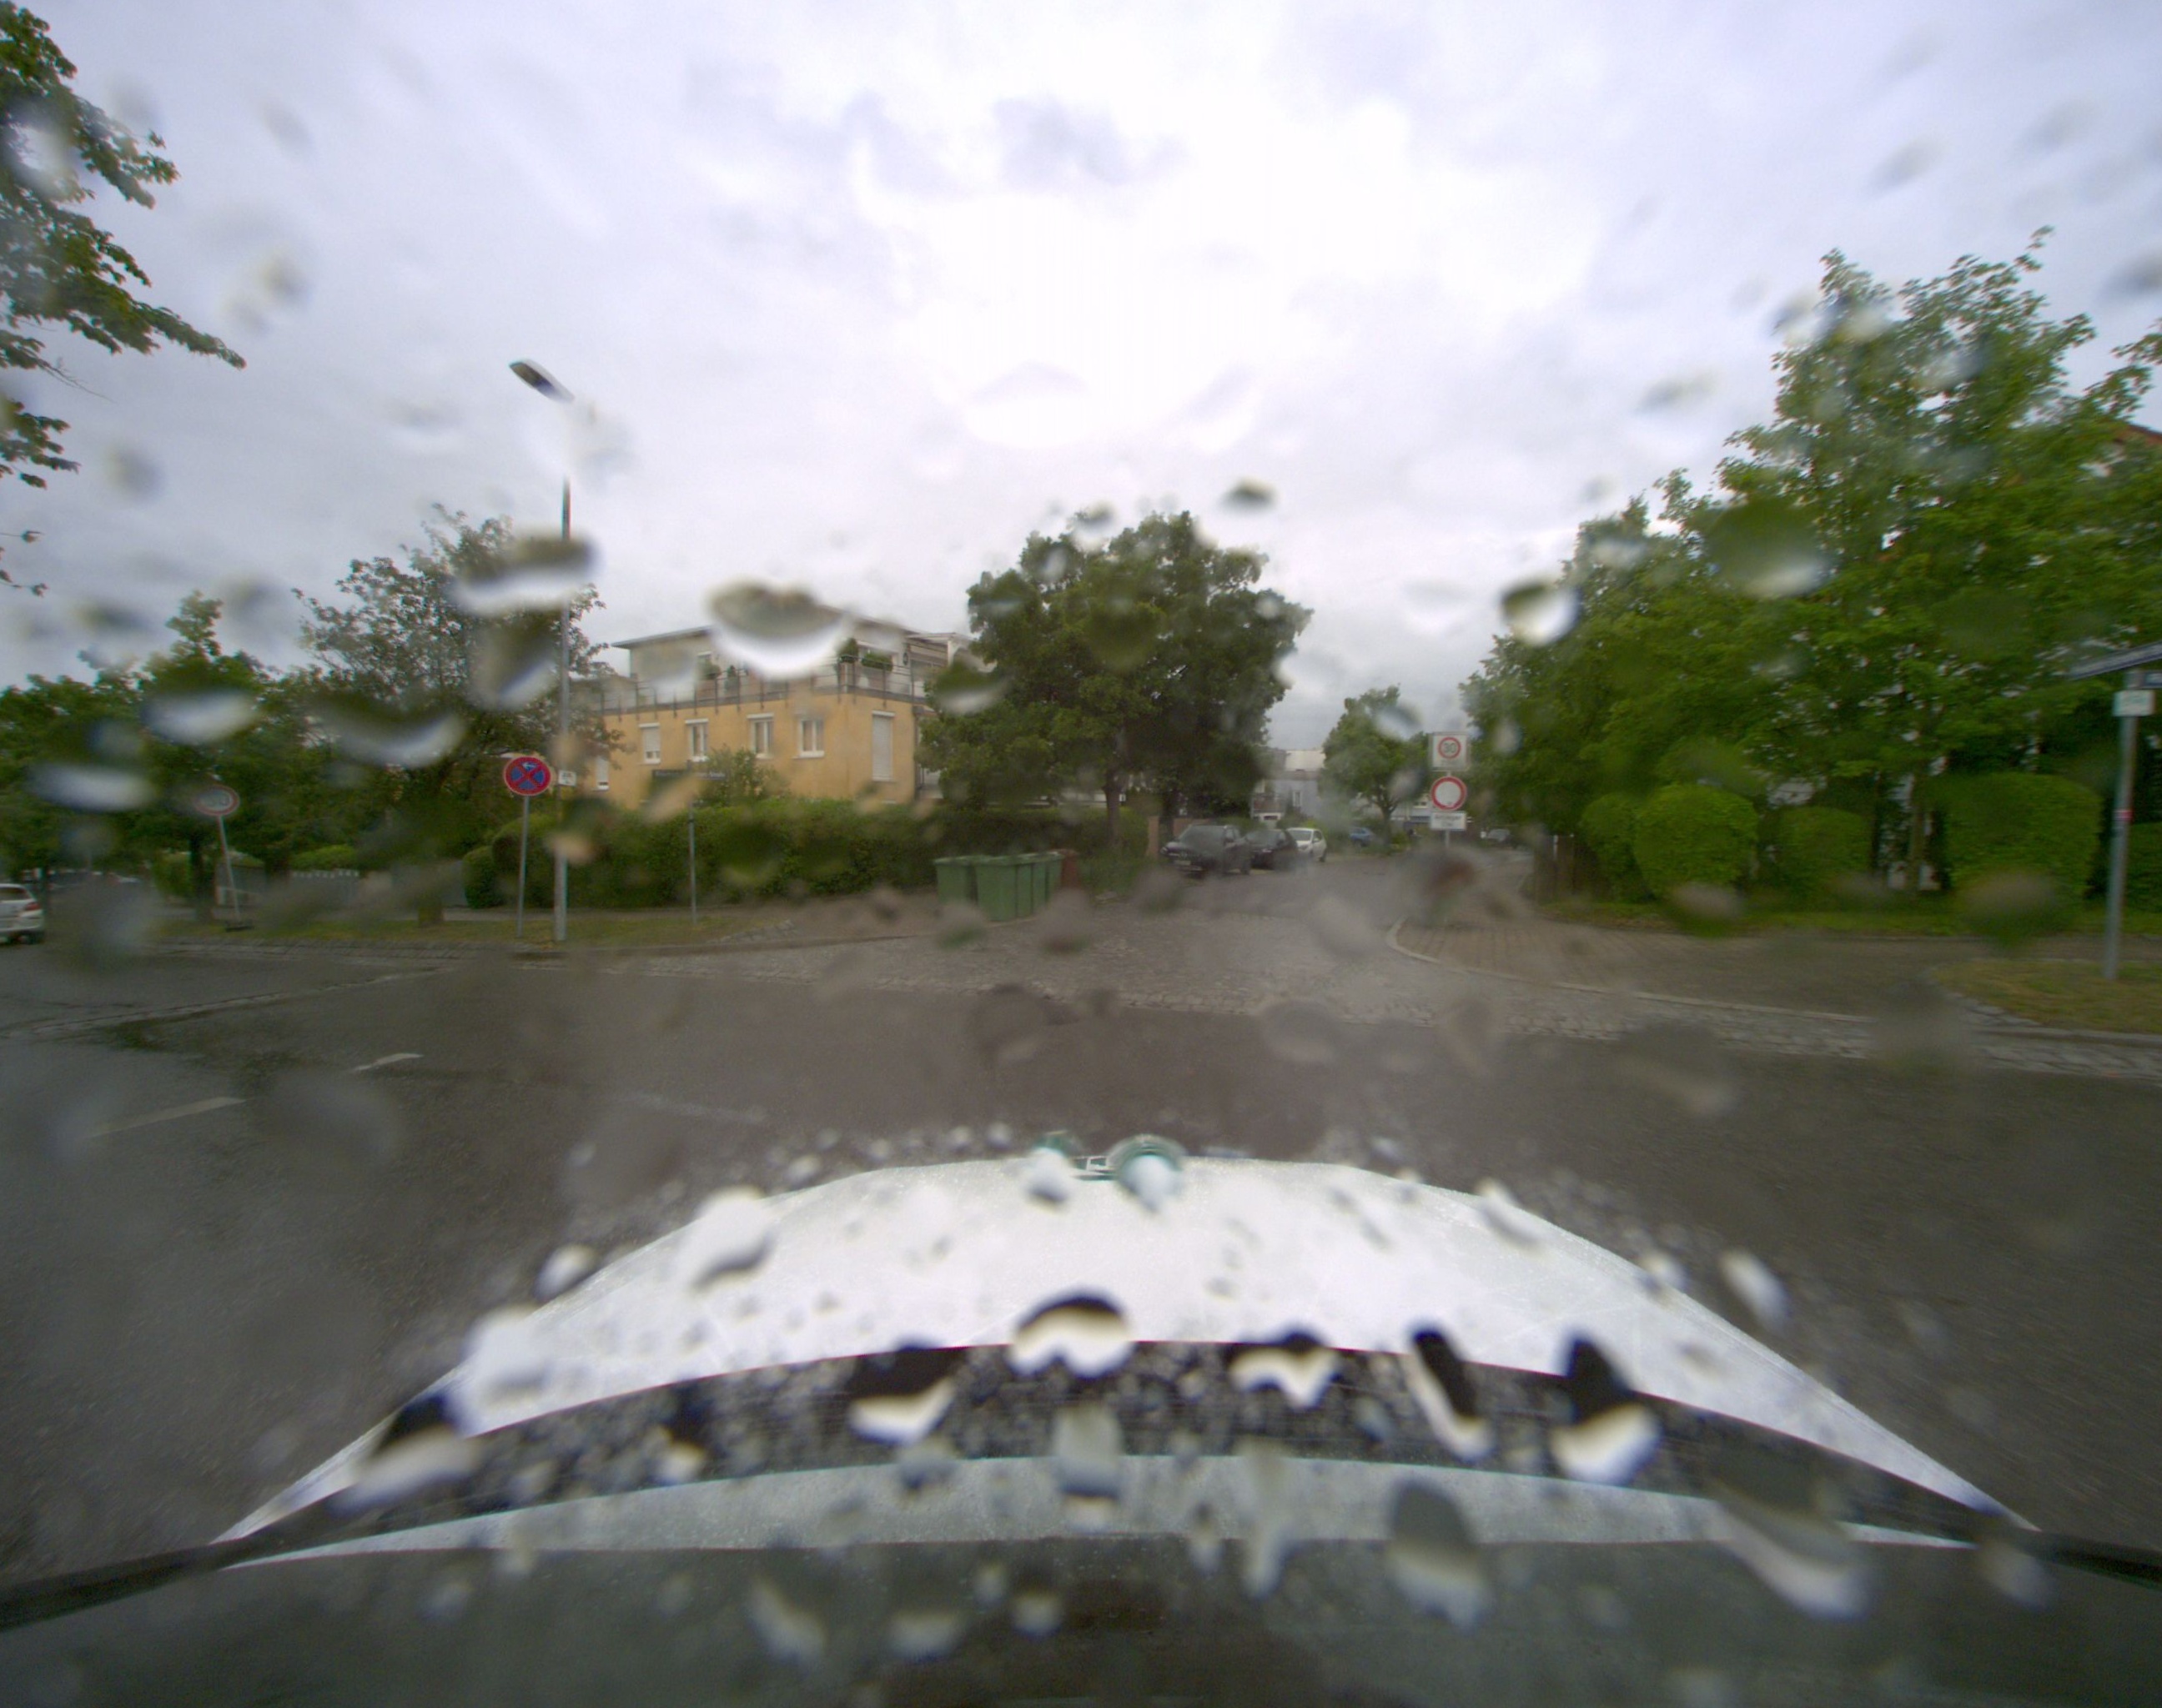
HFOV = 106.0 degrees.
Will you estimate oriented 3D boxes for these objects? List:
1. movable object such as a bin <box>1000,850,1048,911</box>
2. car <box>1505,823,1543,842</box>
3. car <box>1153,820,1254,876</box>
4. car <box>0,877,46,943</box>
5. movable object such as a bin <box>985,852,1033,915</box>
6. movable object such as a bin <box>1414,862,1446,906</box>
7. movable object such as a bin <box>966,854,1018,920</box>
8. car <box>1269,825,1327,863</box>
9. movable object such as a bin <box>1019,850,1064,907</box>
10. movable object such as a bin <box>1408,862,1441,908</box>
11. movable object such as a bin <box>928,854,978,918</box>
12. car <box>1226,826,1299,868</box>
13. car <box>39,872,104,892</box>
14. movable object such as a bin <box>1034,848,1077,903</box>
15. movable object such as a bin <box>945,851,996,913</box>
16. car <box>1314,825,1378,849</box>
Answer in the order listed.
[{"bbox_3d":[-1.057,0.480,15.135,0.688,1.067,0.582,0,2,20],"label":"movable object such as a bin"},{"bbox_3d":[42.441,-2.078,77.959,3.868,1.809,1.779,-1,2,-37],"label":"car"},{"bbox_3d":[3.890,-0.227,25.289,1.759,1.518,4.163,4,3,27],"label":"car"},{"bbox_3d":[-26.714,1.347,19.566,3.679,1.502,1.621,-2,0,28],"label":"car"},{"bbox_3d":[-1.286,0.510,14.587,0.688,1.074,0.546,0,2,20],"label":"movable object such as a bin"},{"bbox_3d":[7.807,0.653,18.228,0.565,0.931,0.533,2,2,33],"label":"movable object such as a bin"},{"bbox_3d":[-1.521,0.550,14.001,0.688,1.074,0.605,0,2,20],"label":"movable object such as a bin"},{"bbox_3d":[9.337,-0.458,34.861,1.496,1.476,3.294,4,3,30],"label":"car"},{"bbox_3d":[-0.757,0.456,15.695,0.688,1.054,0.608,0,2,20],"label":"movable object such as a bin"},{"bbox_3d":[7.485,0.665,17.736,0.565,0.931,0.533,2,2,33],"label":"movable object such as a bin"},{"bbox_3d":[-2.231,0.547,14.229,0.659,1.073,0.546,0,2,20],"label":"movable object such as a bin"},{"bbox_3d":[6.854,-0.307,30.560,1.620,1.408,3.627,4,3,29],"label":"car"},{"bbox_3d":[-97.236,2.665,78.513,3.591,1.605,1.673,-4,2,-38],"label":"car"},{"bbox_3d":[-0.513,0.416,16.435,0.688,1.054,0.608,0,2,20],"label":"movable object such as a bin"},{"bbox_3d":[-2.002,0.500,14.796,0.688,1.072,0.601,0,2,20],"label":"movable object such as a bin"},{"bbox_3d":[18.026,-1.171,55.367,3.951,1.567,1.919,2,2,24],"label":"car"}]
